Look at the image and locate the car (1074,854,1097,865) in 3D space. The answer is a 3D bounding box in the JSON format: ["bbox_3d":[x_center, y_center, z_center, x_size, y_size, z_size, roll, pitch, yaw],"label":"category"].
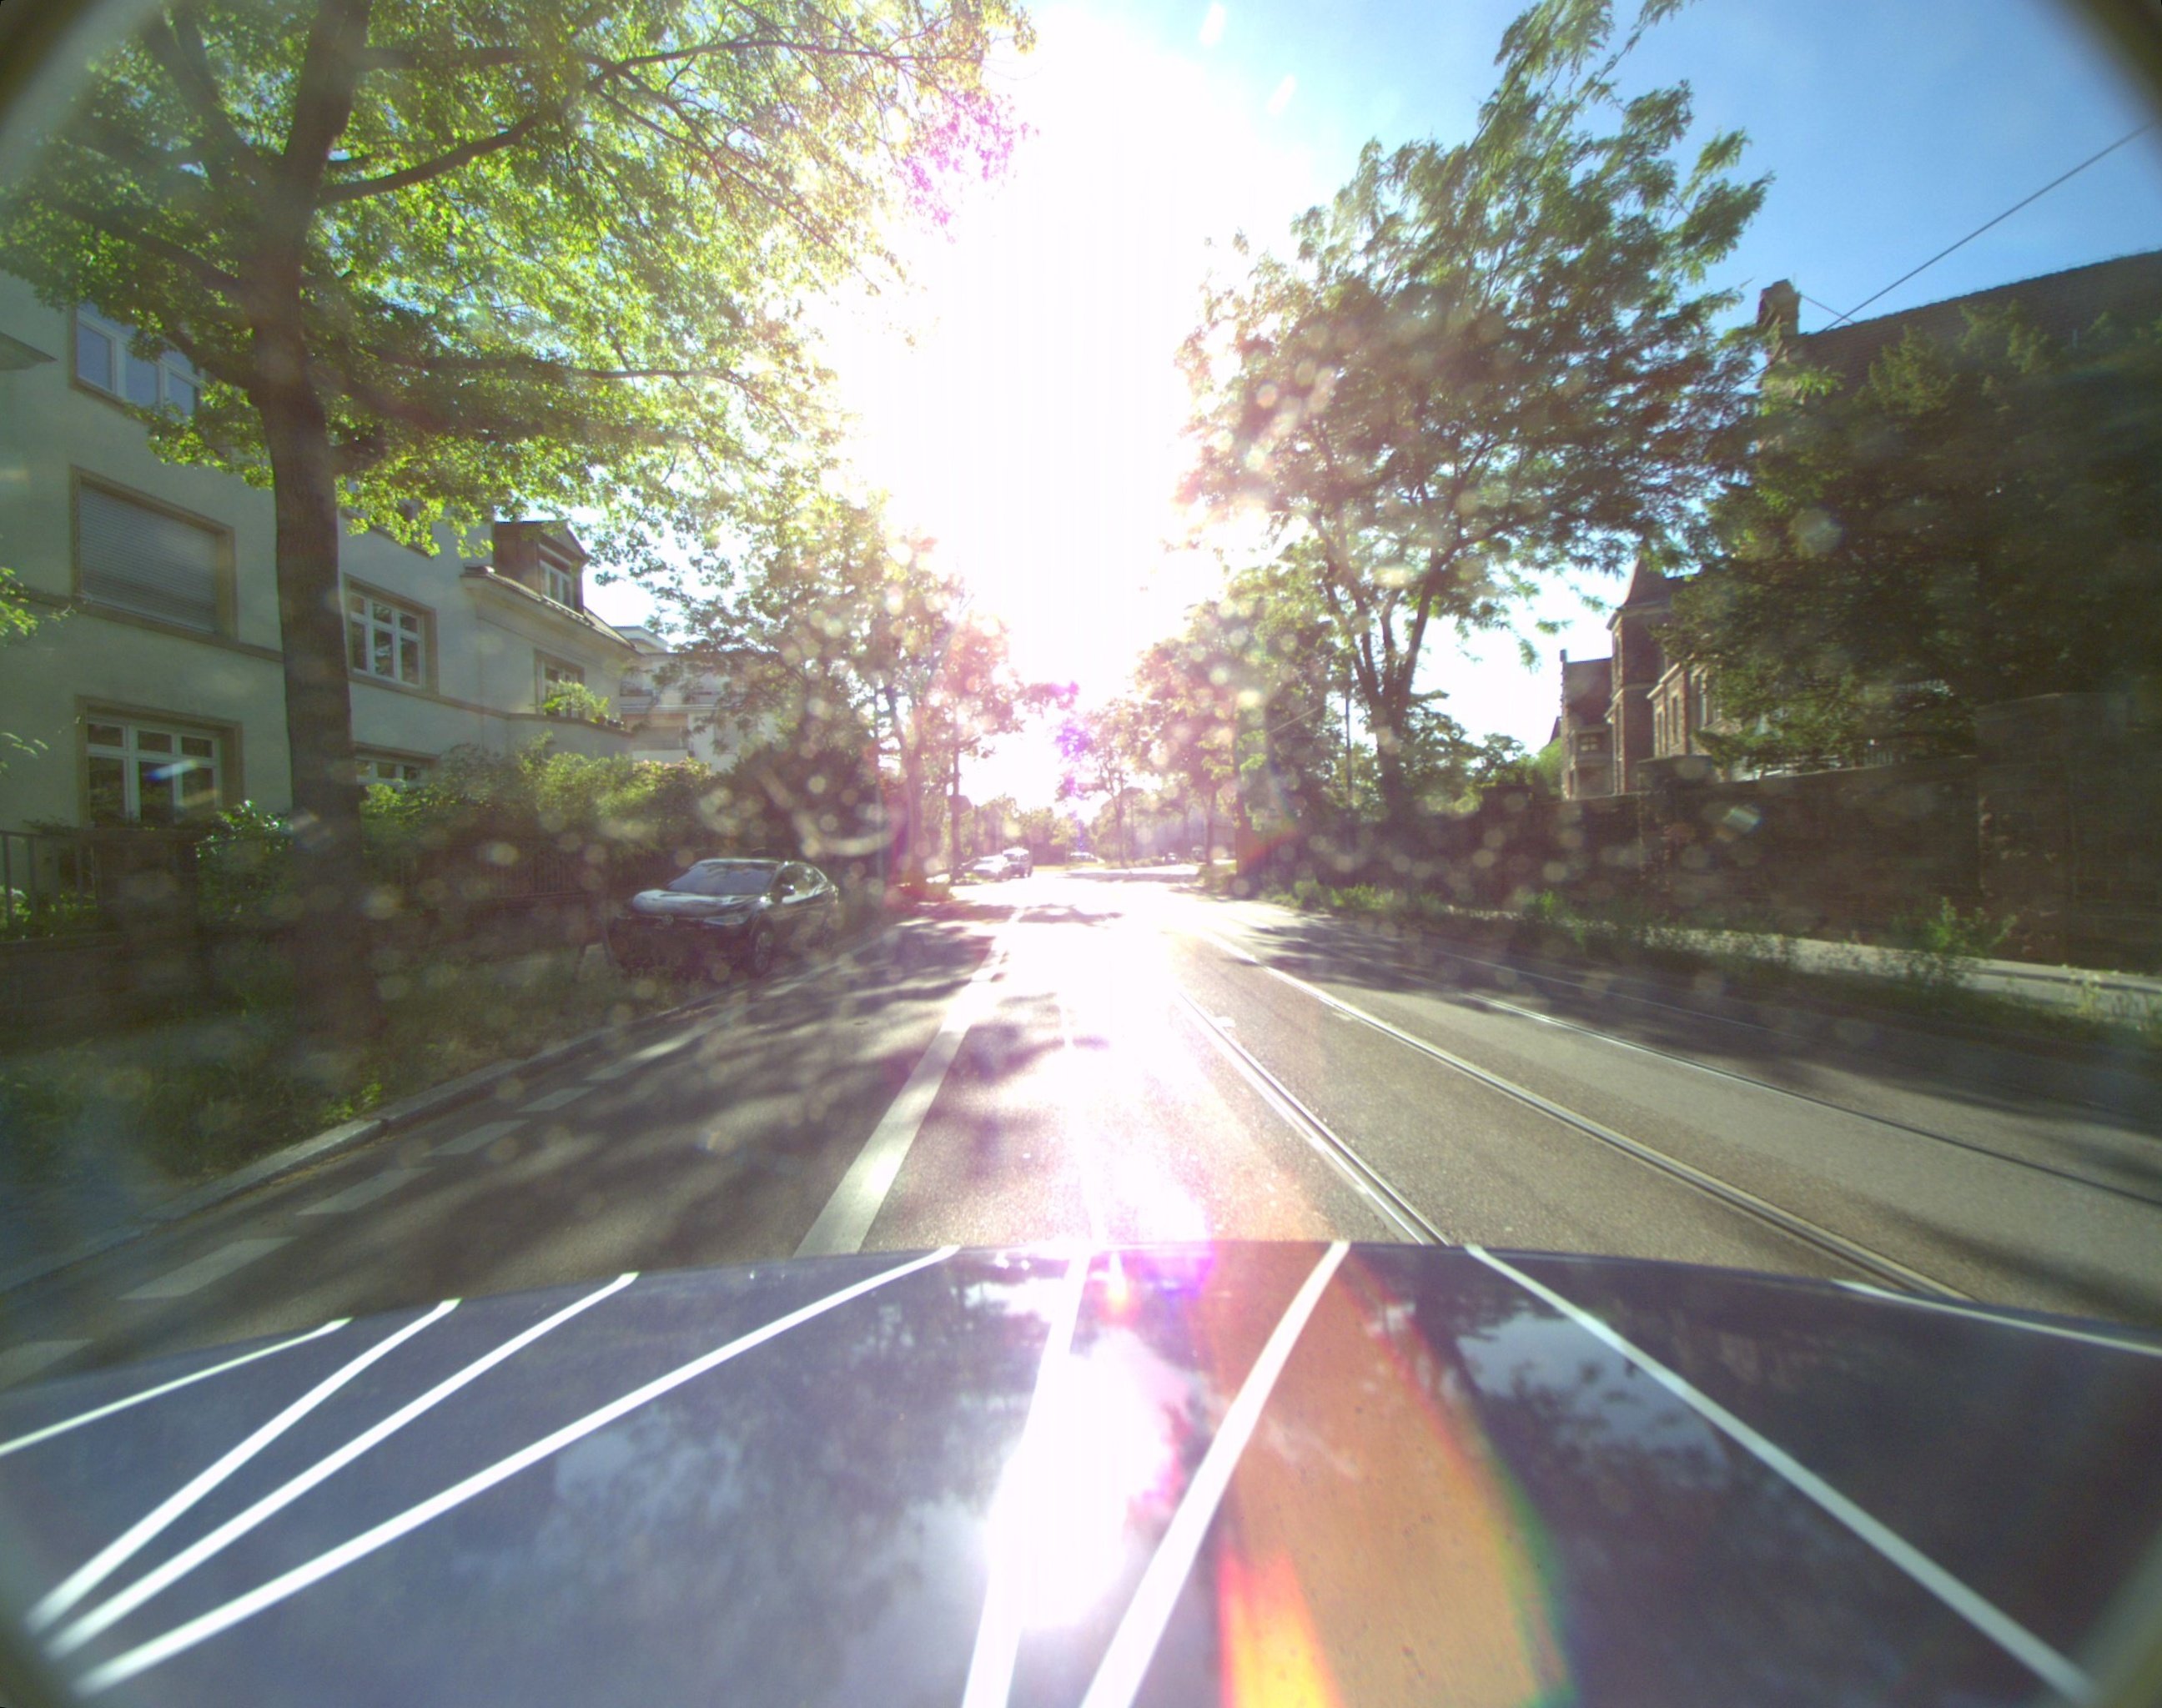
[{"bbox_3d":[0.731,0.913,128.792,3.908,1.683,1.905,-1,0,-1],"label":"car"}]

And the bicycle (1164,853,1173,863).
[{"bbox_3d":[9.385,0.412,81.589,0.588,1.105,1.857,-1,0,19],"label":"bicycle"}]

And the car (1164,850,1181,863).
[{"bbox_3d":[11.898,0.310,98.726,1.997,1.539,4.002,-2,0,8],"label":"car"}]

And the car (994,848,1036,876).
[{"bbox_3d":[-4.411,0.501,51.691,1.900,1.775,4.670,-1,0,6],"label":"car"}]

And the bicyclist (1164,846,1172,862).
[{"bbox_3d":[9.341,0.001,81.530,0.643,1.632,0.666,-2,1,19],"label":"bicyclist"}]

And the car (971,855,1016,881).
[{"bbox_3d":[-5.172,0.789,45.336,1.901,1.402,4.260,-1,0,4],"label":"car"}]

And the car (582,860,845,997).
[{"bbox_3d":[-5.200,0.943,11.509,1.919,1.590,4.258,2,0,-1],"label":"car"}]

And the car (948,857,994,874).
[{"bbox_3d":[-10.054,1.042,69.540,3.998,1.433,1.813,-2,0,-3],"label":"car"}]
